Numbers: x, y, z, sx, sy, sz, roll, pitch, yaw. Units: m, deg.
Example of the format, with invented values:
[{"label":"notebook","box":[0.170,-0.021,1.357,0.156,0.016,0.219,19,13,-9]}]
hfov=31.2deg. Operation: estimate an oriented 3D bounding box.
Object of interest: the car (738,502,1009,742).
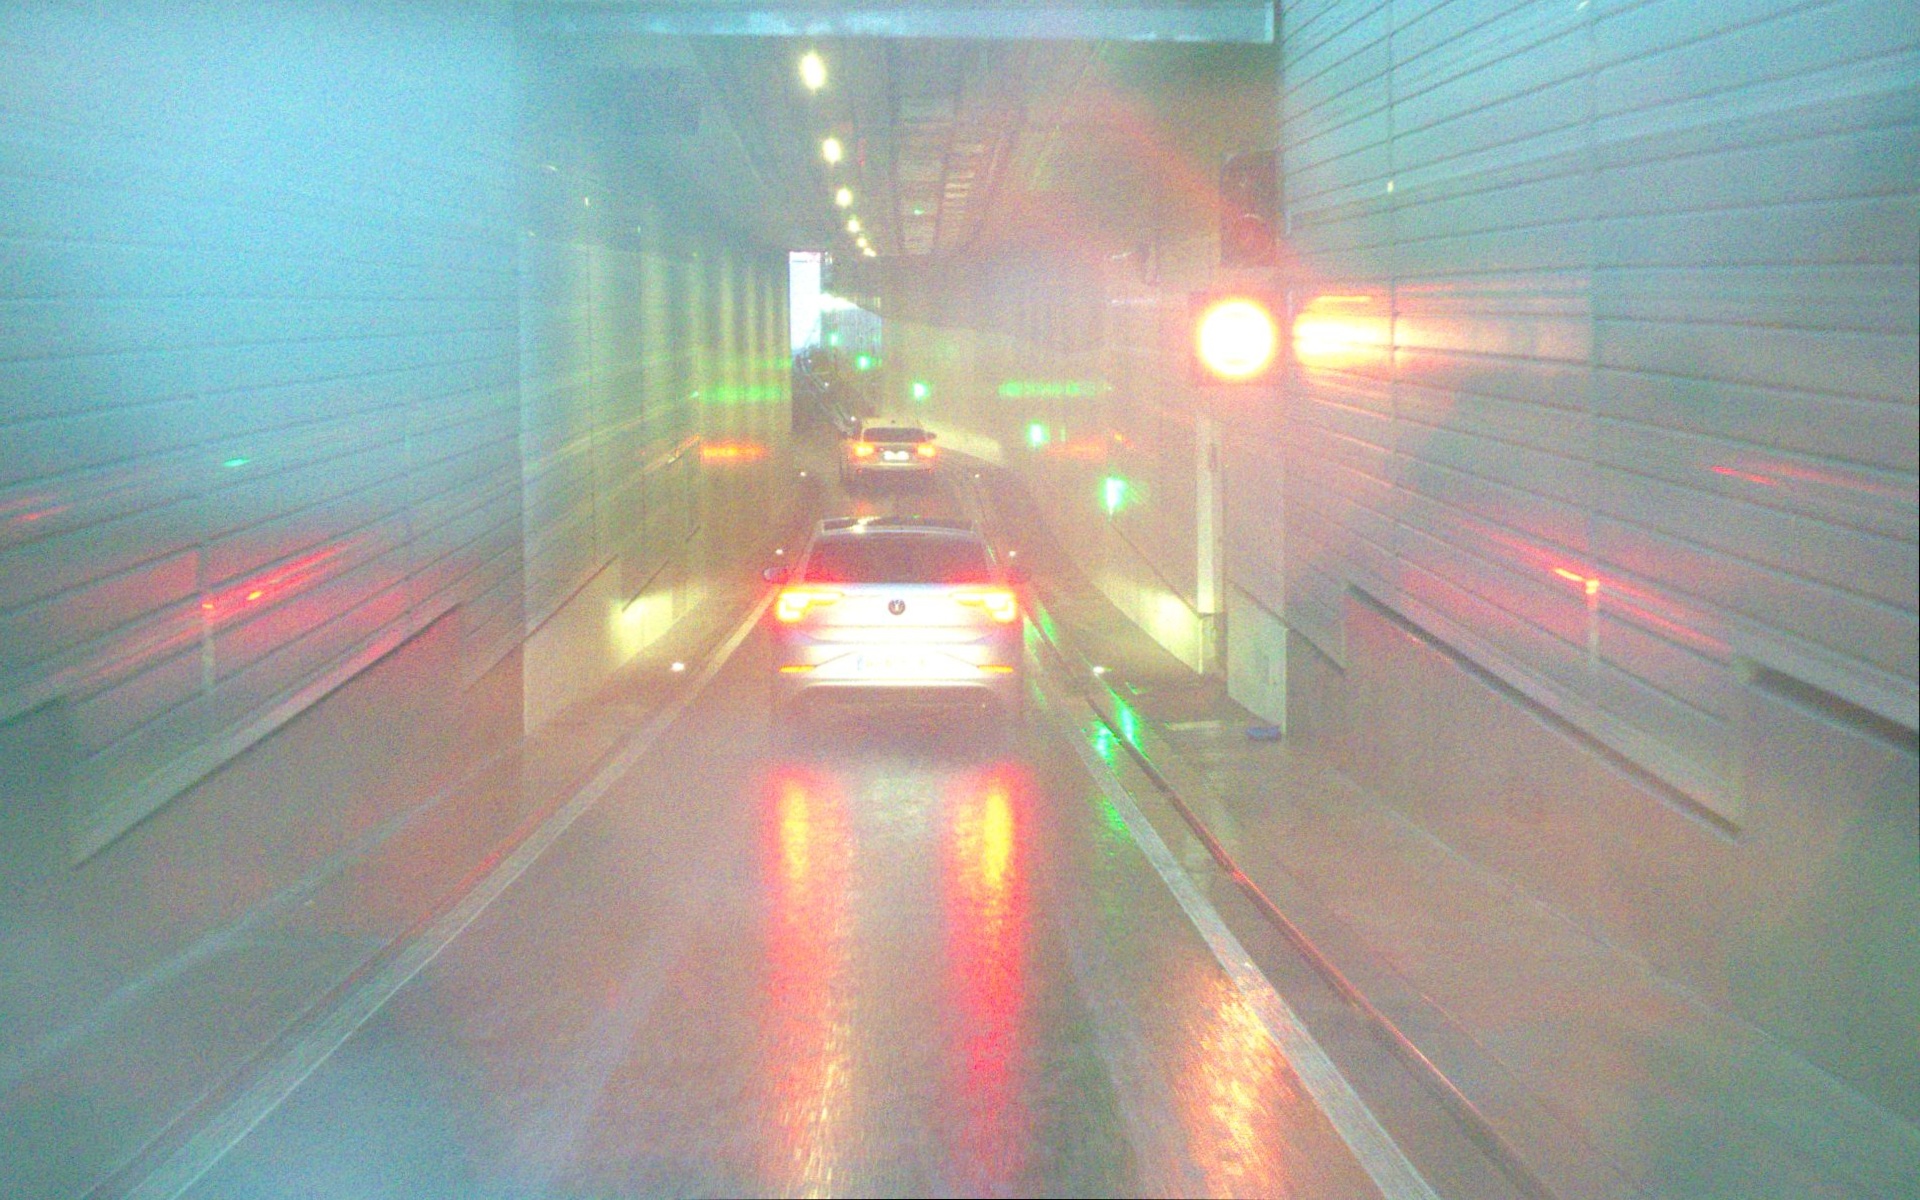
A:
[{"label":"car","box":[-0.545,0.085,24.324,1.722,1.474,4.000,2,2,1]}]

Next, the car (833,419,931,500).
[{"label":"car","box":[-1.644,-2.935,71.144,1.919,1.480,4.001,1,4,-2]}]
